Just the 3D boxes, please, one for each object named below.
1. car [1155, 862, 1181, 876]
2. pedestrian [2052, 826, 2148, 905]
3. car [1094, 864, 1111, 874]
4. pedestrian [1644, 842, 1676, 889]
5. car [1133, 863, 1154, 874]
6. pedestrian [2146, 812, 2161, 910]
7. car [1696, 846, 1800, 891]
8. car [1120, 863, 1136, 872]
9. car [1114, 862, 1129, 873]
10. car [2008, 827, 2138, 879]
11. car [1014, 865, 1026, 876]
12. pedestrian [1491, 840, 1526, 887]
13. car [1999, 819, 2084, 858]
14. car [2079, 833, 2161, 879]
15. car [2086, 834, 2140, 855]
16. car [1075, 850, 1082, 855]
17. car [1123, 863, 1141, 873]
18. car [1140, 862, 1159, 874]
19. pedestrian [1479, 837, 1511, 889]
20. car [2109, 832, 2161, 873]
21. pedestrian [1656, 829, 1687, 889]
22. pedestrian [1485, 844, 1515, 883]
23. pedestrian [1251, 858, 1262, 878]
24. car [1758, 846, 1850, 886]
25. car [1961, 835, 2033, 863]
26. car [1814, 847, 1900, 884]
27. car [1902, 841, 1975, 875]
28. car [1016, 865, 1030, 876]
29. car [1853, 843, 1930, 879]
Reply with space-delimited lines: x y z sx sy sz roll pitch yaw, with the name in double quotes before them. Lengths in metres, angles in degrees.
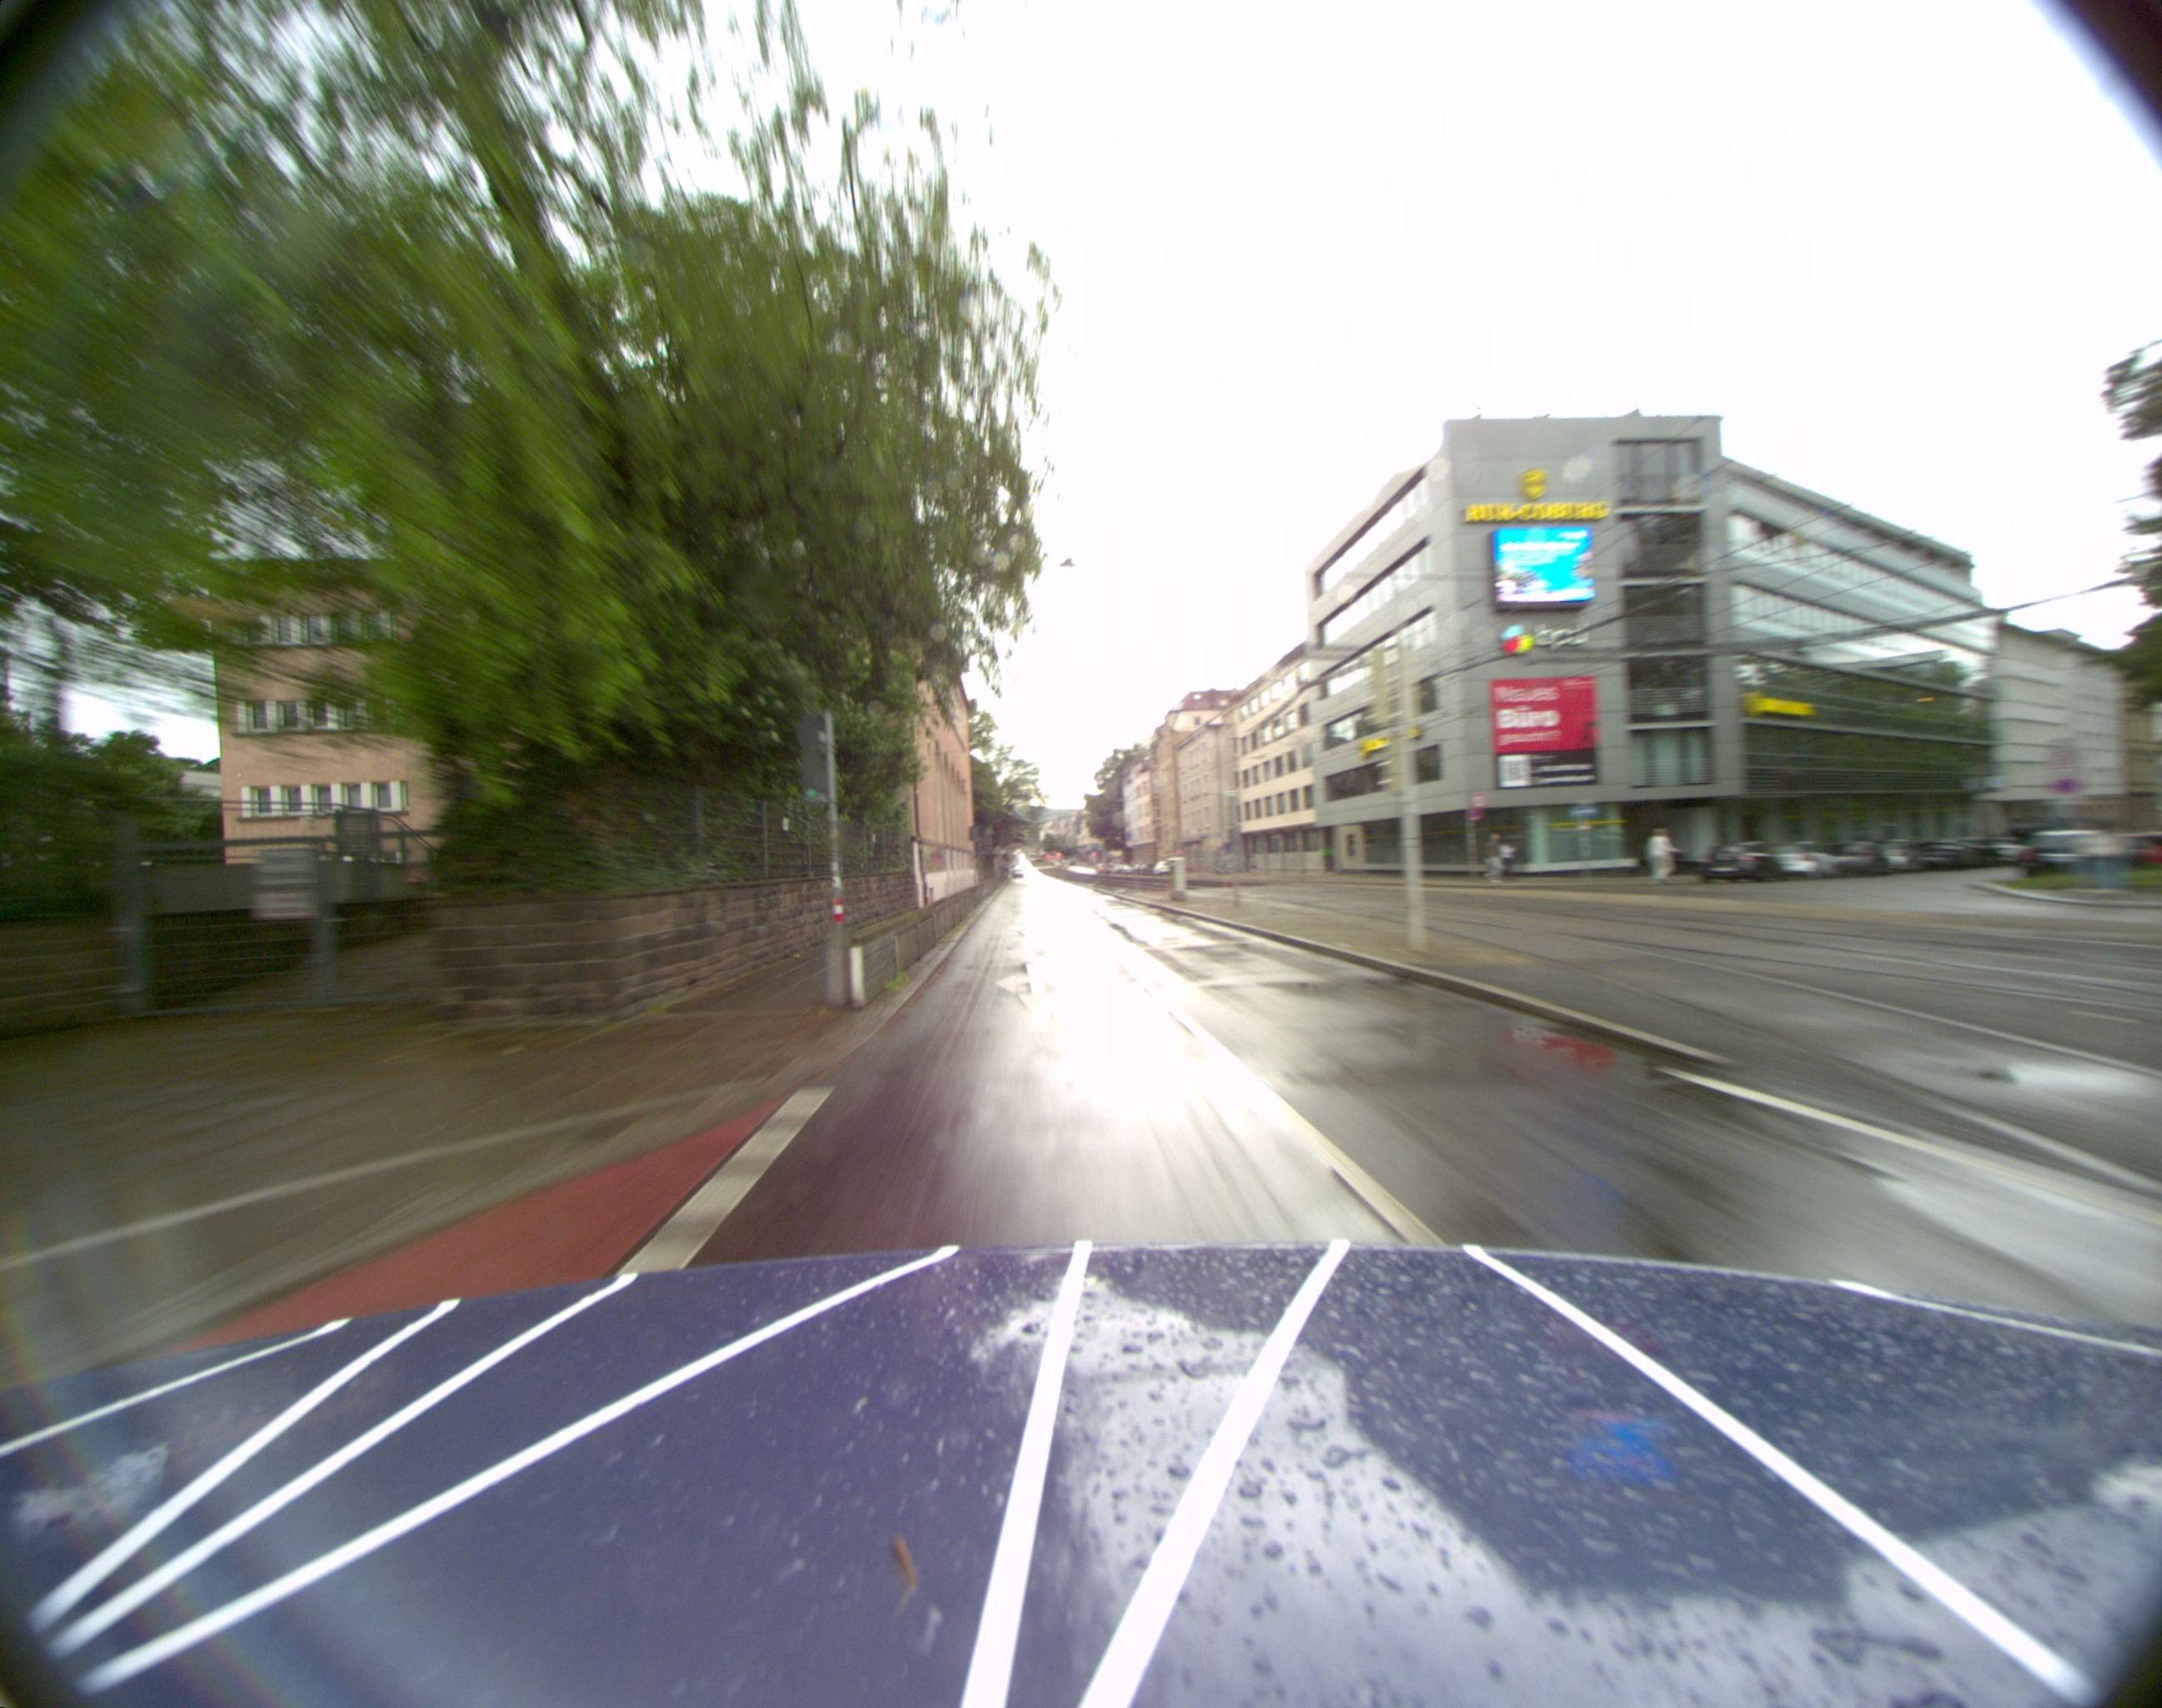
"car" 9.697 1.704 85.392 1.999 1.527 4.747 0 -1 -5
"pedestrian" 21.837 0.249 16.309 1.001 1.585 0.915 -4 1 41
"car" 3.311 2.338 118.995 1.946 1.527 4.346 0 -1 -8
"pedestrian" 20.464 0.392 26.859 0.588 1.585 0.636 -4 1 13
"car" 8.386 1.917 102.167 1.999 1.447 5.020 0 -1 -5
"pedestrian" 20.990 0.110 14.097 1.002 1.852 0.914 -4 0 10
"car" 24.857 0.510 28.301 3.747 1.541 1.699 -1 0 -29
"car" 7.247 2.118 118.104 1.844 1.389 4.264 -1 -1 -6
"car" 6.576 2.191 124.097 1.844 1.595 4.226 -1 -1 -6
"car" 29.658 -0.038 22.708 3.545 1.439 1.699 -1 0 -27
"car" -9.294 2.475 115.916 1.760 1.521 4.332 -3 0 -6
"pedestrian" 17.368 0.386 30.863 0.663 1.805 0.972 -5 0 -13
"car" 57.334 -0.916 45.349 5.076 2.207 2.328 -1 0 -29
"car" 34.815 0.051 25.154 3.545 1.439 1.699 -1 0 -30
"car" 71.141 -0.635 52.357 3.545 1.382 1.699 -1 0 -28
"car" -0.906 -0.613 262.086 1.999 1.674 3.999 -3 0 -4
"car" 7.599 2.030 112.905 1.999 1.389 5.021 0 -1 -4
"car" 8.746 1.761 96.880 1.741 1.447 4.169 0 -1 -5
"pedestrian" 16.638 0.356 30.571 0.663 2.002 0.810 -5 1 -4
"car" 39.300 -0.066 27.757 3.545 1.439 1.699 -1 0 -30
"pedestrian" 20.343 0.182 26.178 0.664 2.002 0.615 -5 1 -42
"pedestrian" 17.939 0.419 32.523 0.968 1.585 0.588 -5 1 -30
"pedestrian" 14.674 1.198 63.568 0.548 1.603 0.798 -5 0 -2
"car" 28.711 0.461 30.164 3.747 1.445 1.699 -1 0 -31
"car" 49.741 -0.279 41.250 3.545 1.439 1.699 -1 0 -27
"car" 32.581 0.459 31.869 3.747 1.445 1.699 -1 0 -31
"car" 41.031 0.198 36.327 3.546 1.546 1.699 -1 0 -31
"car" -8.391 2.419 110.280 1.789 1.521 4.243 -3 0 -6
"car" 37.021 0.299 34.689 3.546 1.546 1.699 -1 0 -31
